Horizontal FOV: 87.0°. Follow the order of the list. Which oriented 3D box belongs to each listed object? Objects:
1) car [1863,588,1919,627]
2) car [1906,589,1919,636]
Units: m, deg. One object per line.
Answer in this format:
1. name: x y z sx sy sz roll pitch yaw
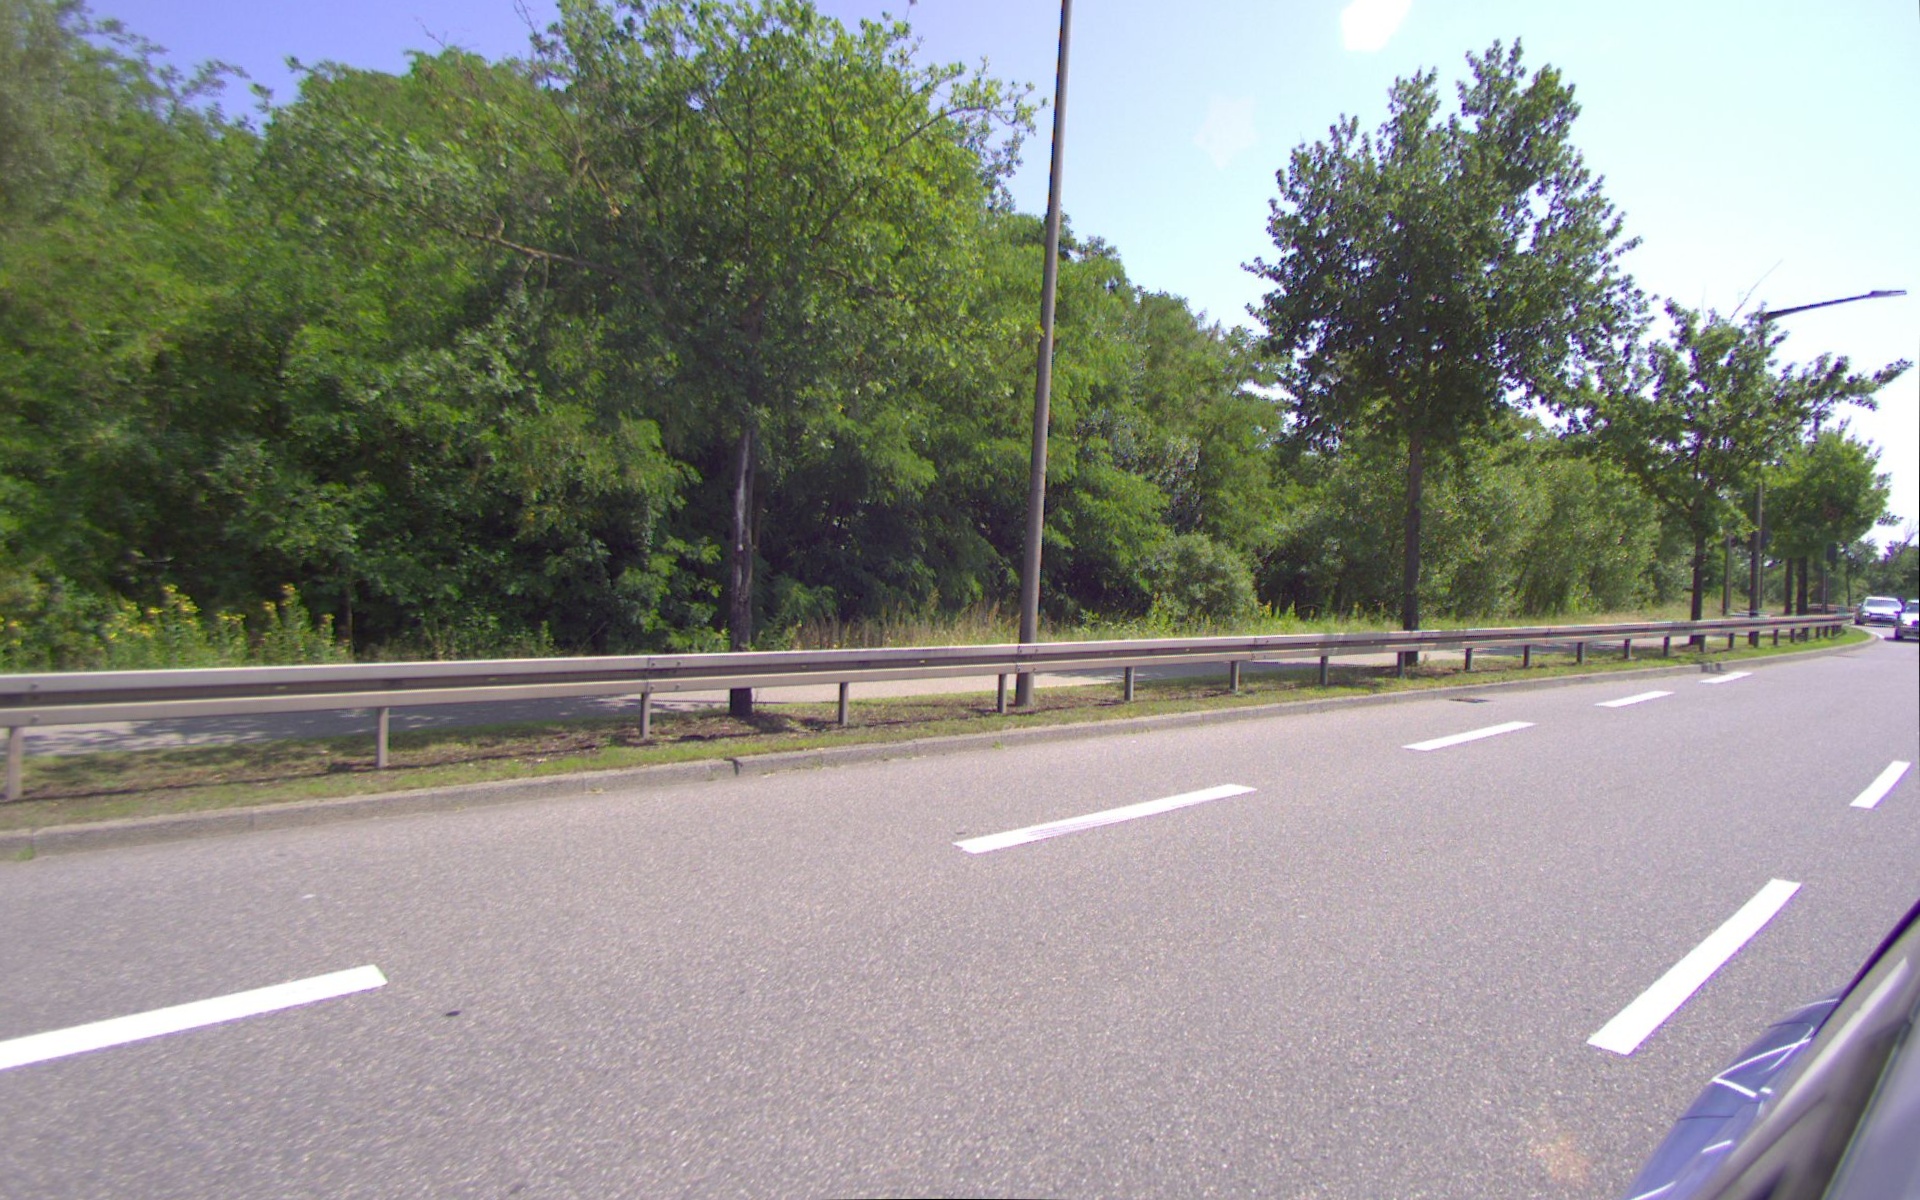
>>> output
1. car: 46.462 0.333 50.517 1.792 1.804 4.232 4 3 39
2. car: 33.564 0.394 34.530 1.759 1.518 4.166 1 1 45
